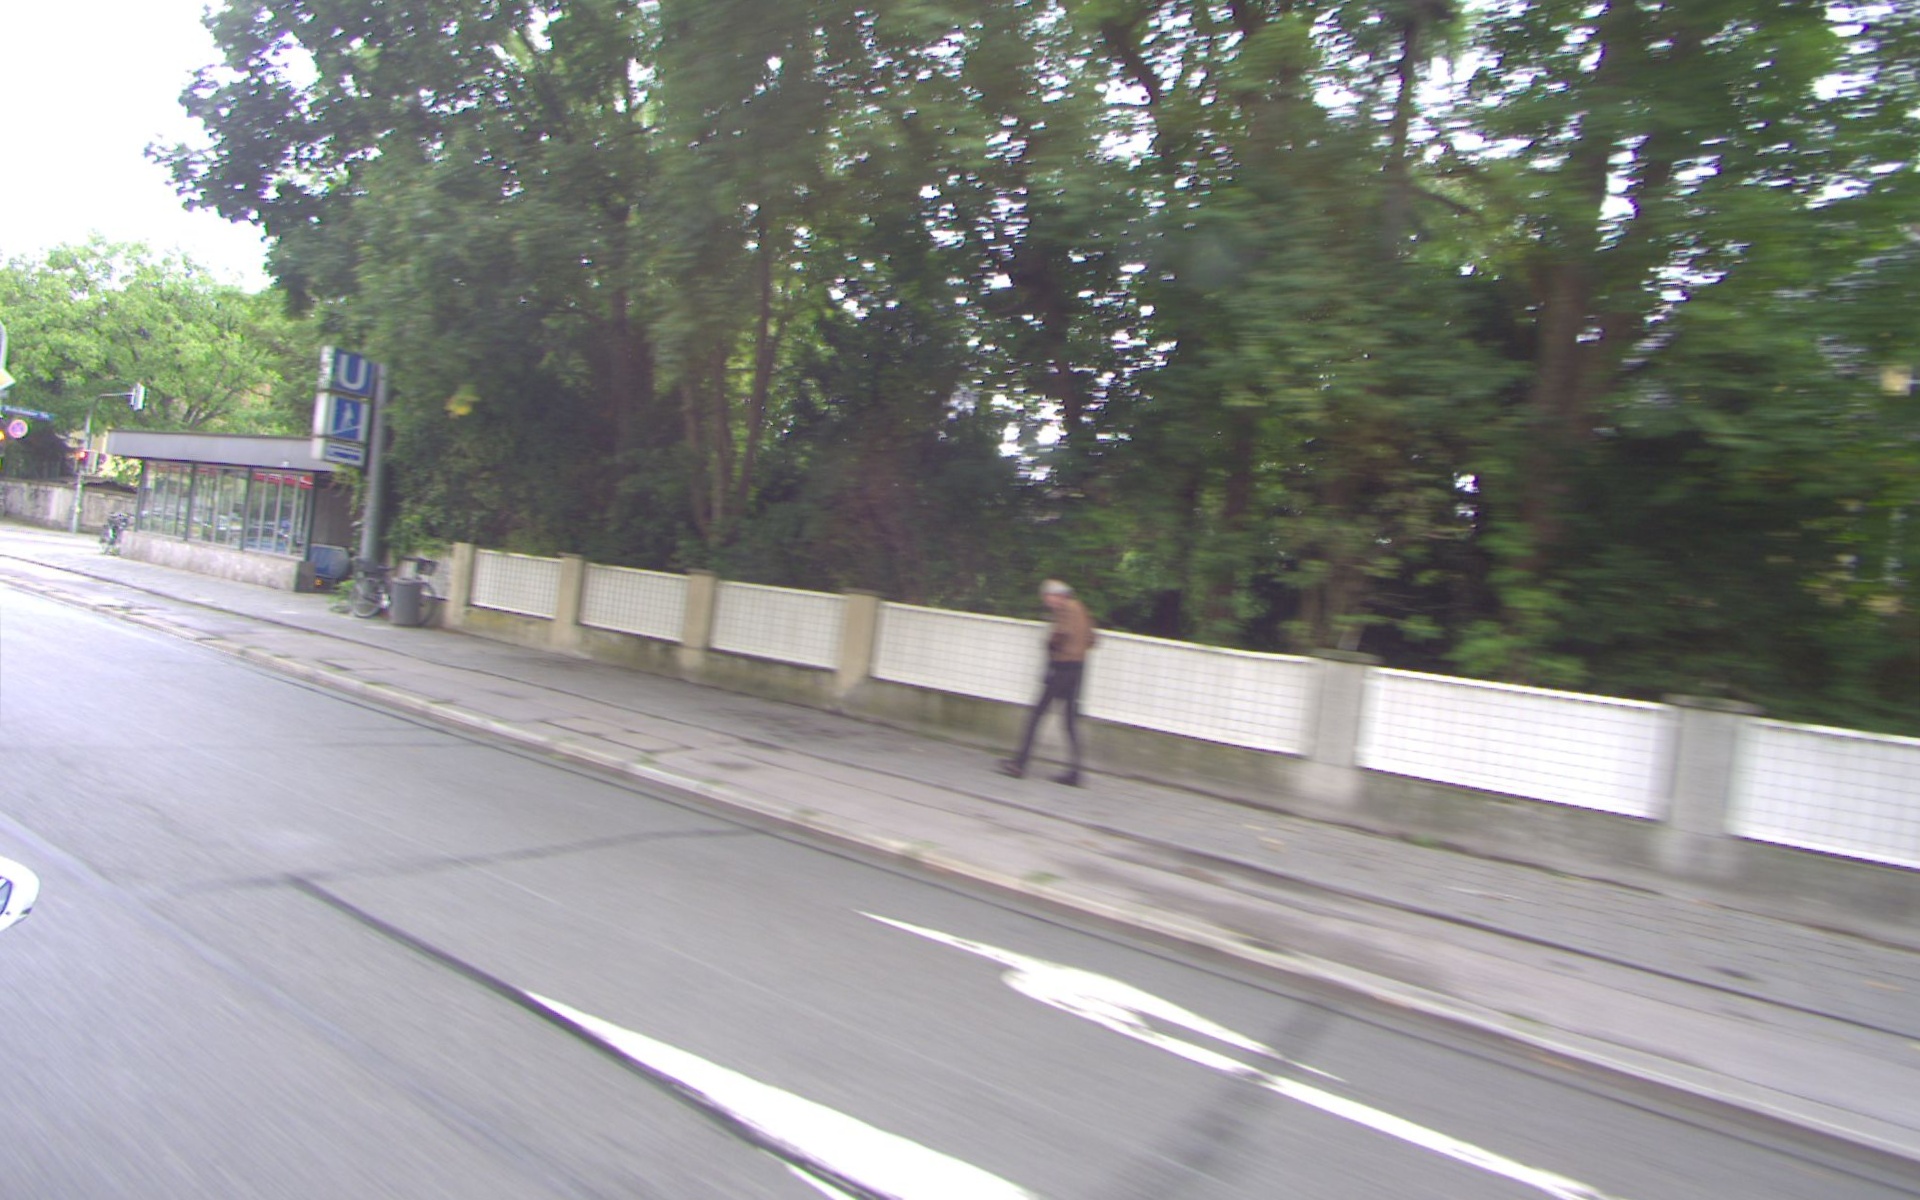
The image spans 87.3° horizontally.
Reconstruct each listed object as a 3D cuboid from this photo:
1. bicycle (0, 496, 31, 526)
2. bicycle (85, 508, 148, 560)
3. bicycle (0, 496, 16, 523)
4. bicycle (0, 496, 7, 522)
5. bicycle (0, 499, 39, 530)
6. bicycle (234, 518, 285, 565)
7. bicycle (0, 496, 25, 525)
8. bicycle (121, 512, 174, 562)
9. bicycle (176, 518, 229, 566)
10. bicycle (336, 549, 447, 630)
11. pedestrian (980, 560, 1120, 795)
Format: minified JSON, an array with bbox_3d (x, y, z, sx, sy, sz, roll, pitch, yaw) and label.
[{"bbox_3d":[-38.482,-3.651,40.001,0.625,1.026,2.142,8,-1,40],"label":"bicycle"},{"bbox_3d":[-21.394,-1.674,25.502,1.859,1.134,0.600,6,0,32],"label":"bicycle"},{"bbox_3d":[-39.814,-3.812,40.752,0.625,1.026,2.142,8,-1,40],"label":"bicycle"},{"bbox_3d":[-40.492,-3.895,41.115,0.625,1.026,2.142,8,-1,40],"label":"bicycle"},{"bbox_3d":[-37.808,-3.467,39.629,0.625,1.026,2.142,8,-1,40],"label":"bicycle"},{"bbox_3d":[-19.686,-1.650,28.267,1.707,1.134,0.470,6,0,32],"label":"bicycle"},{"bbox_3d":[-39.115,-3.723,40.407,0.625,1.026,2.142,8,-1,40],"label":"bicycle"},{"bbox_3d":[-21.064,-1.647,26.069,1.707,1.134,0.470,6,0,32],"label":"bicycle"},{"bbox_3d":[-20.422,-1.574,27.111,1.707,1.134,0.470,6,0,32],"label":"bicycle"},{"bbox_3d":[-9.433,-0.184,16.673,1.992,1.104,0.623,7,0,32],"label":"bicycle"},{"bbox_3d":[0.830,0.687,9.190,0.789,1.967,0.778,8,2,32],"label":"pedestrian"}]
